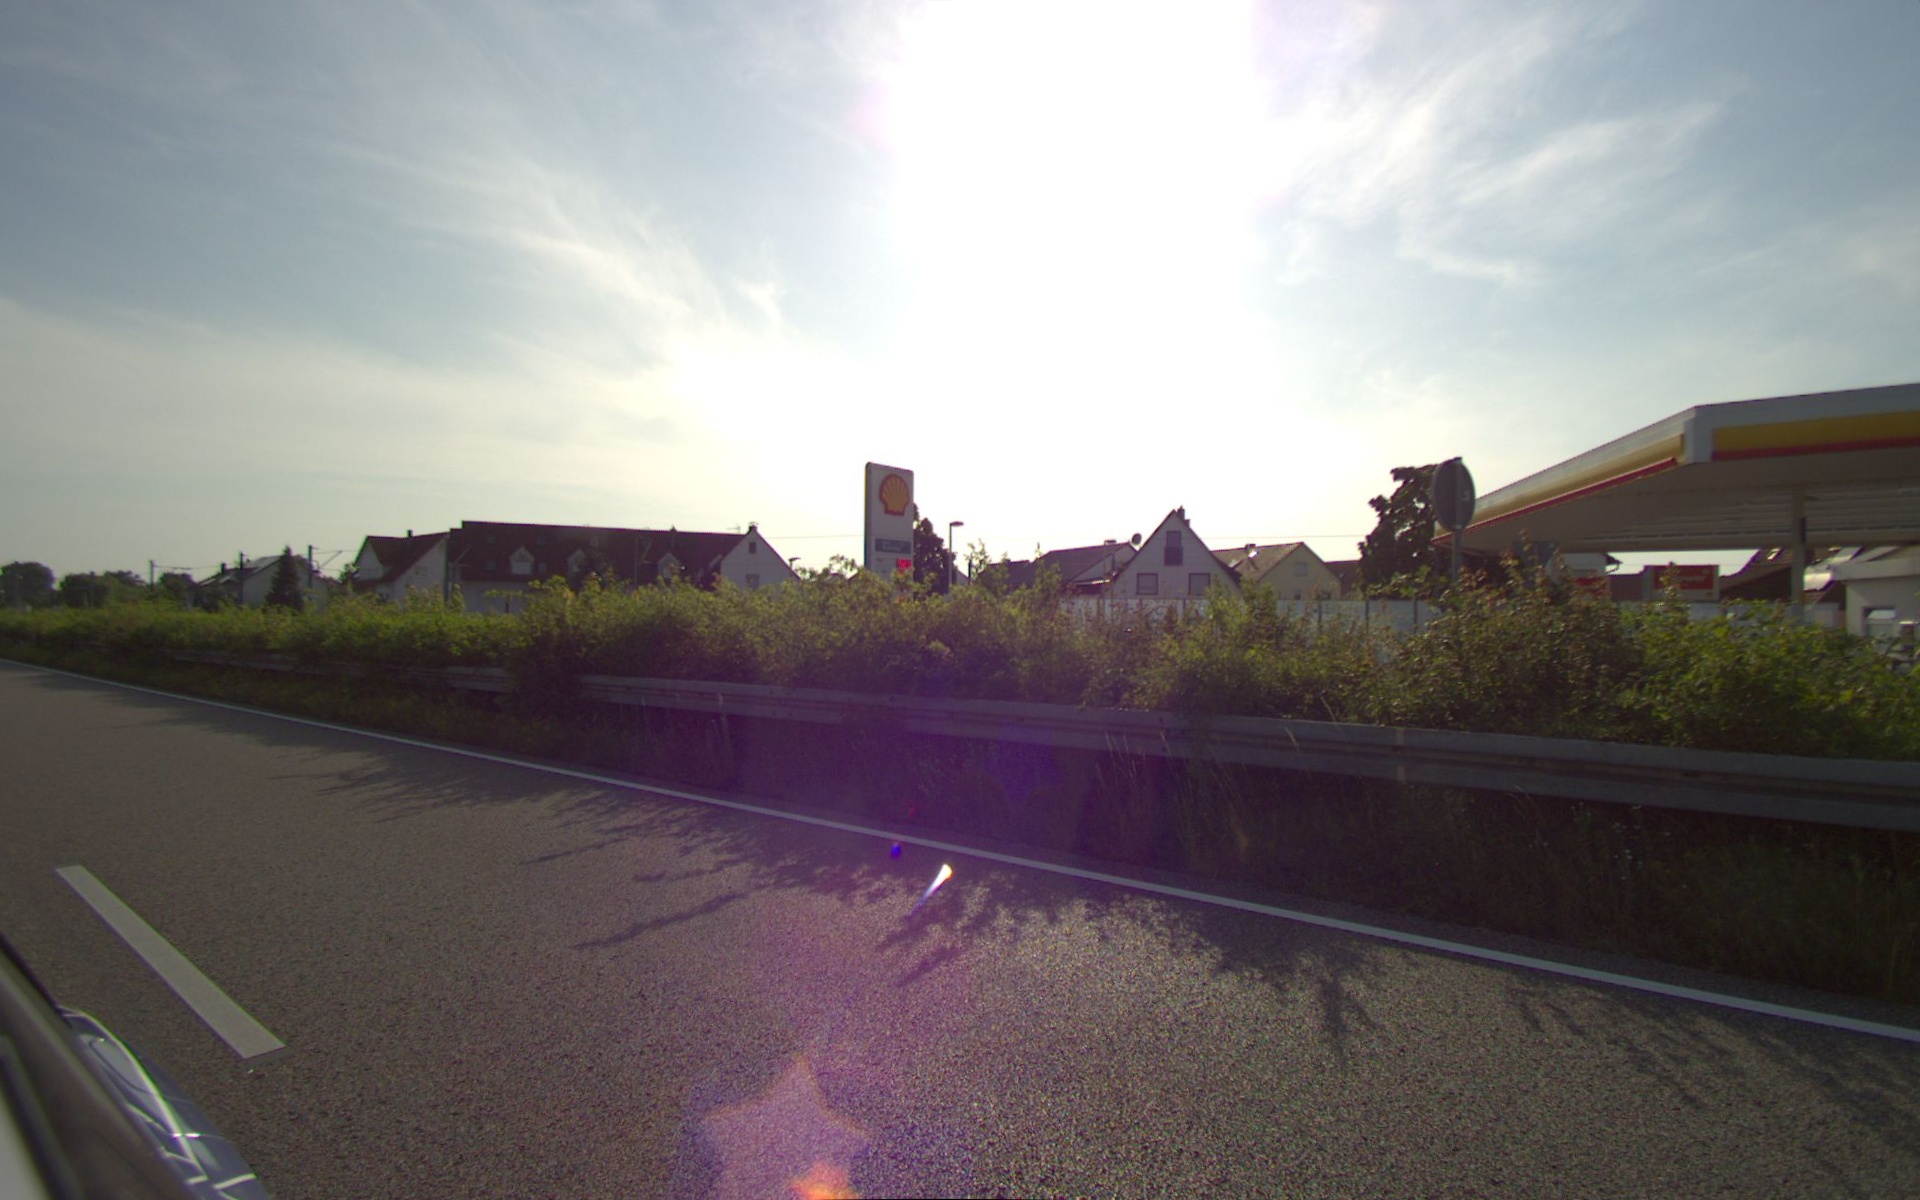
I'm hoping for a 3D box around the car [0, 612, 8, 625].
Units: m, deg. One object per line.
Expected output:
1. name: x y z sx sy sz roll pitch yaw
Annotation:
1. car: -137.480 2.625 144.482 3.998 1.763 1.973 -1 0 41
